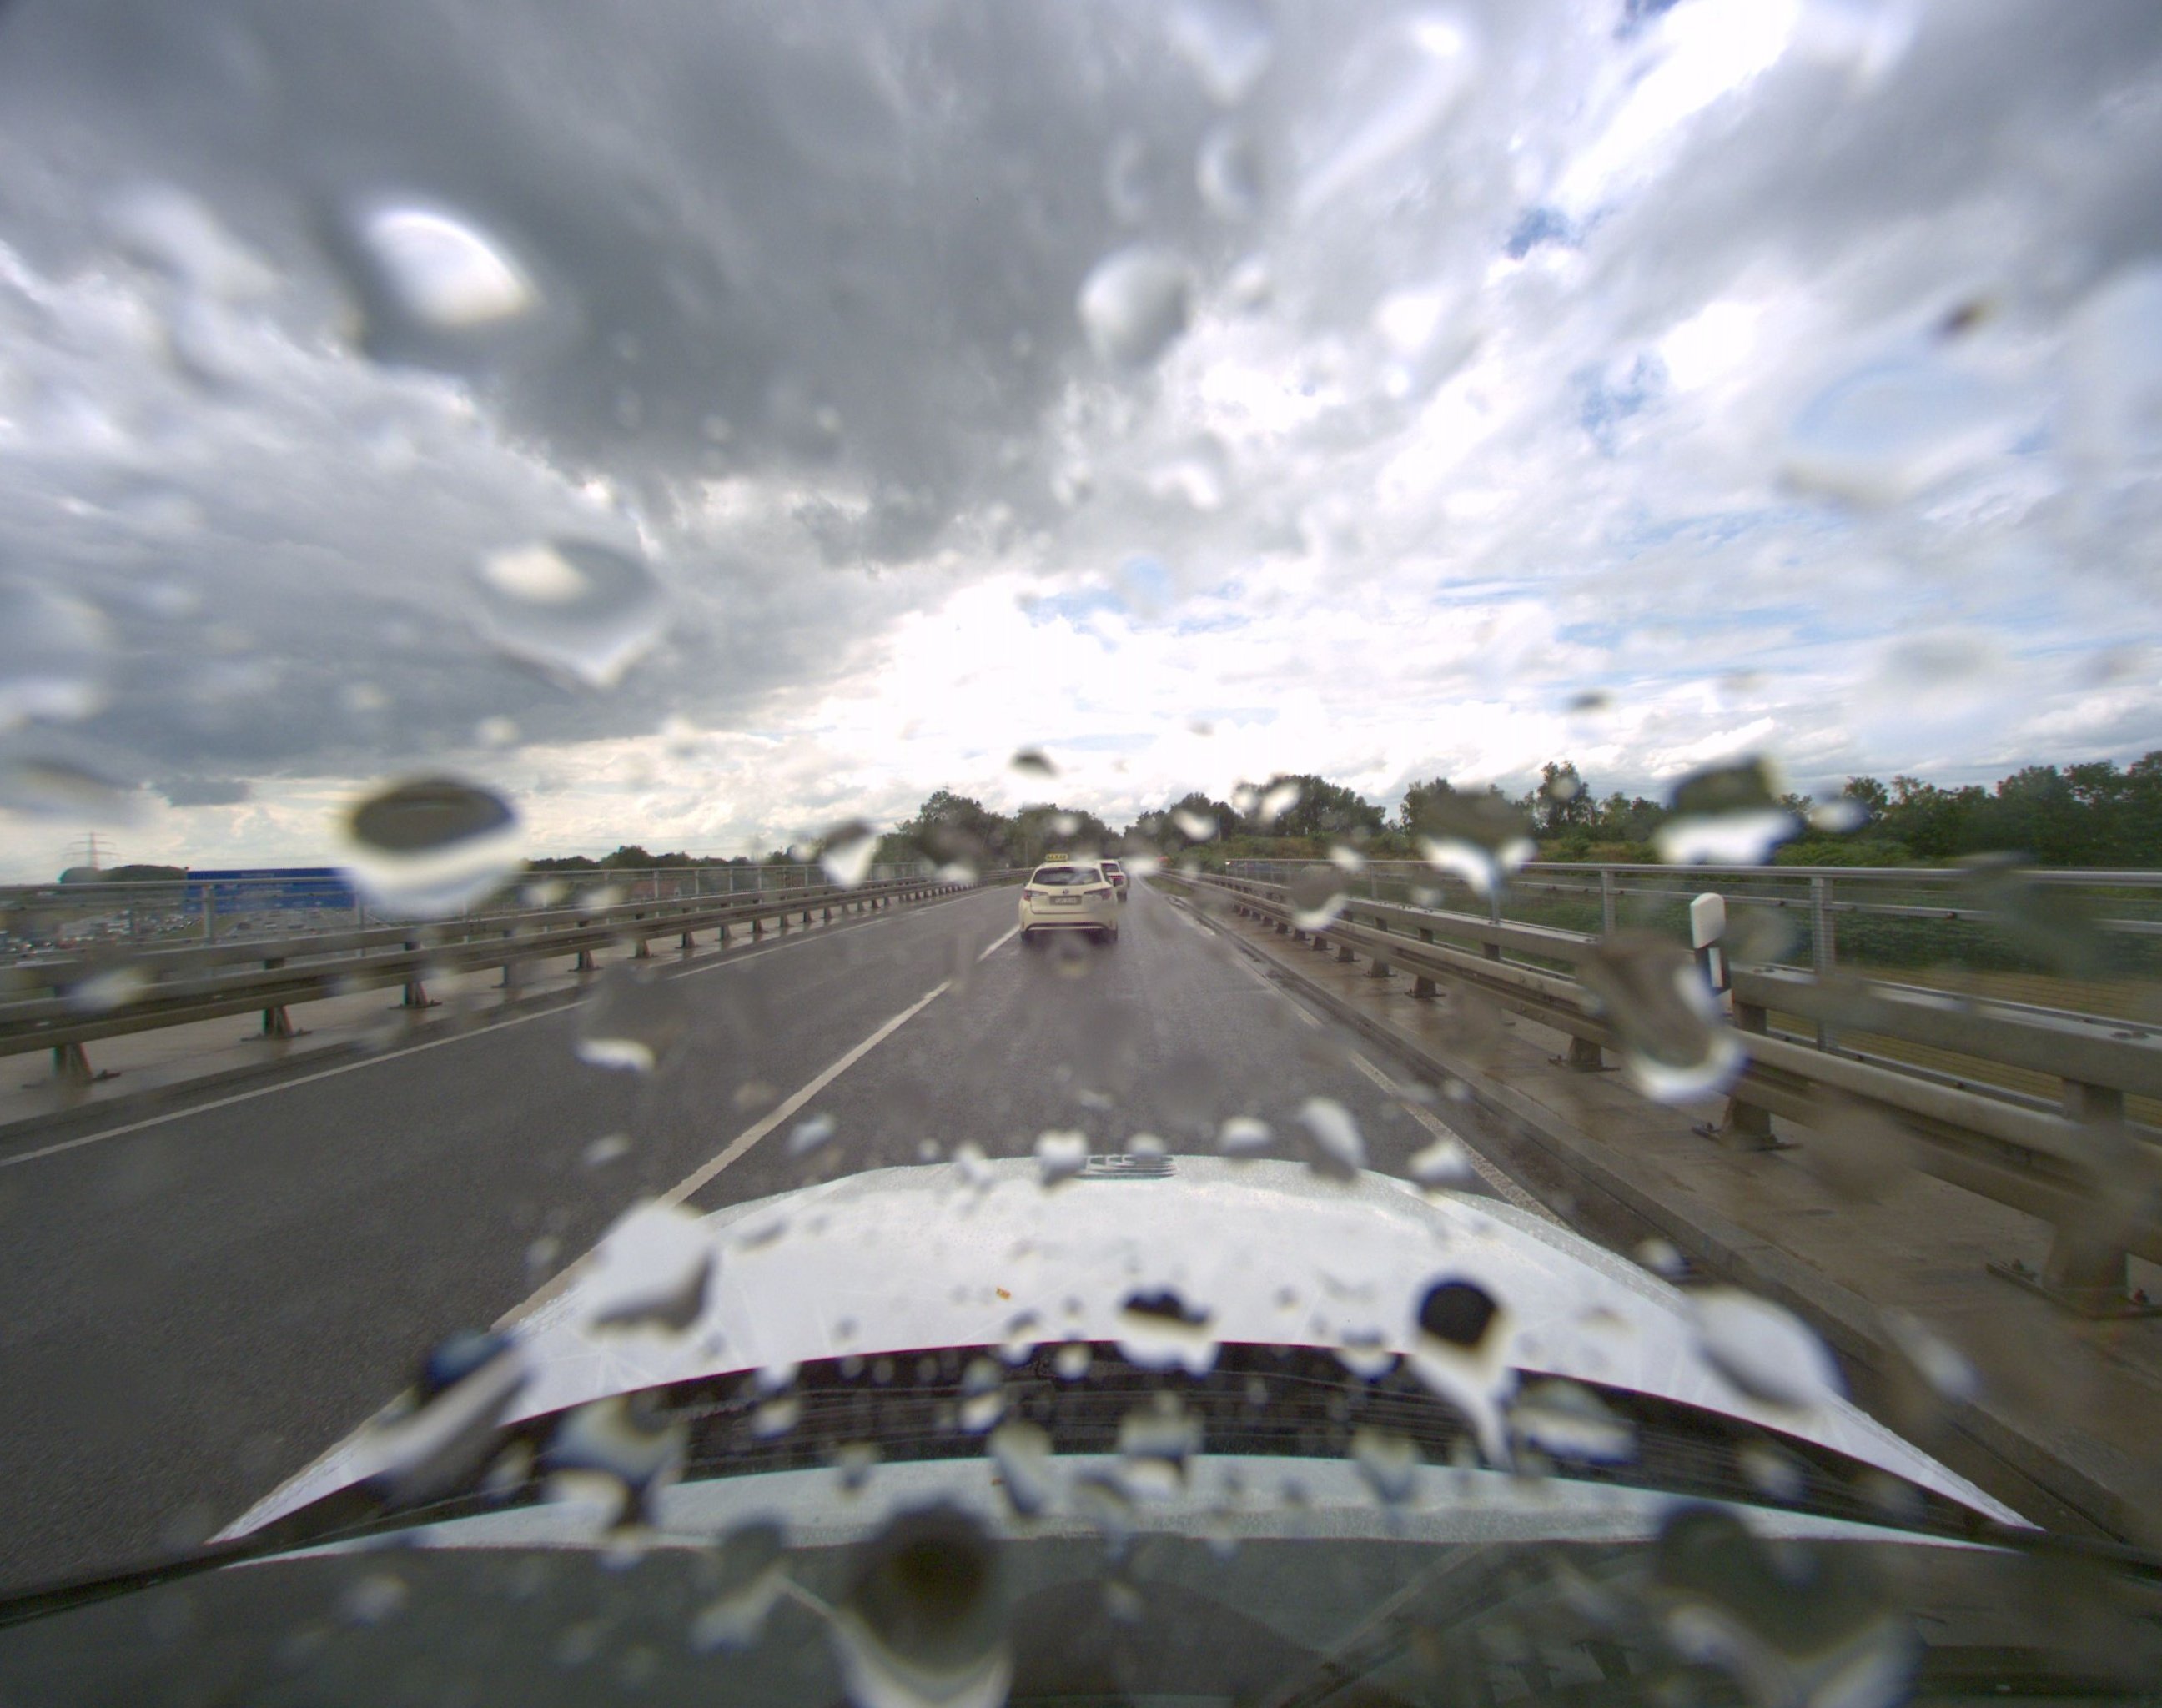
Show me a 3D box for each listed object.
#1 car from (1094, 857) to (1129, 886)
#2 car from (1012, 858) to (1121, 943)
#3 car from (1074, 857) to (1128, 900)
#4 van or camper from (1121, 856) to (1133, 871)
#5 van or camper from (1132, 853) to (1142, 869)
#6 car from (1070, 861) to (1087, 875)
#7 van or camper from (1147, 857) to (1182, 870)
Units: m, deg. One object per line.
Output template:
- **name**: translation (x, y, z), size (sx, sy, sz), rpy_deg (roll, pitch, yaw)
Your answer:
- **car**: translation (1.680, 0.915, 44.781), size (1.847, 1.443, 4.173), rpy_deg (0, 0, 2)
- **car**: translation (-0.166, 0.805, 15.938), size (1.847, 1.394, 4.173), rpy_deg (0, 0, 2)
- **car**: translation (0.782, 0.861, 30.320), size (1.847, 1.443, 4.173), rpy_deg (0, 0, 2)
- **van or camper**: translation (8.860, 1.754, 156.236), size (2.322, 2.864, 6.312), rpy_deg (0, 0, 4)
- **van or camper**: translation (12.816, 1.546, 186.539), size (2.322, 3.562, 6.312), rpy_deg (0, 0, 4)
- **car**: translation (-0.253, 1.519, 87.796), size (1.707, 1.517, 3.861), rpy_deg (0, -1, 2)
- **van or camper**: translation (14.473, 1.679, 141.421), size (5.683, 2.241, 2.011), rpy_deg (0, 0, -12)
